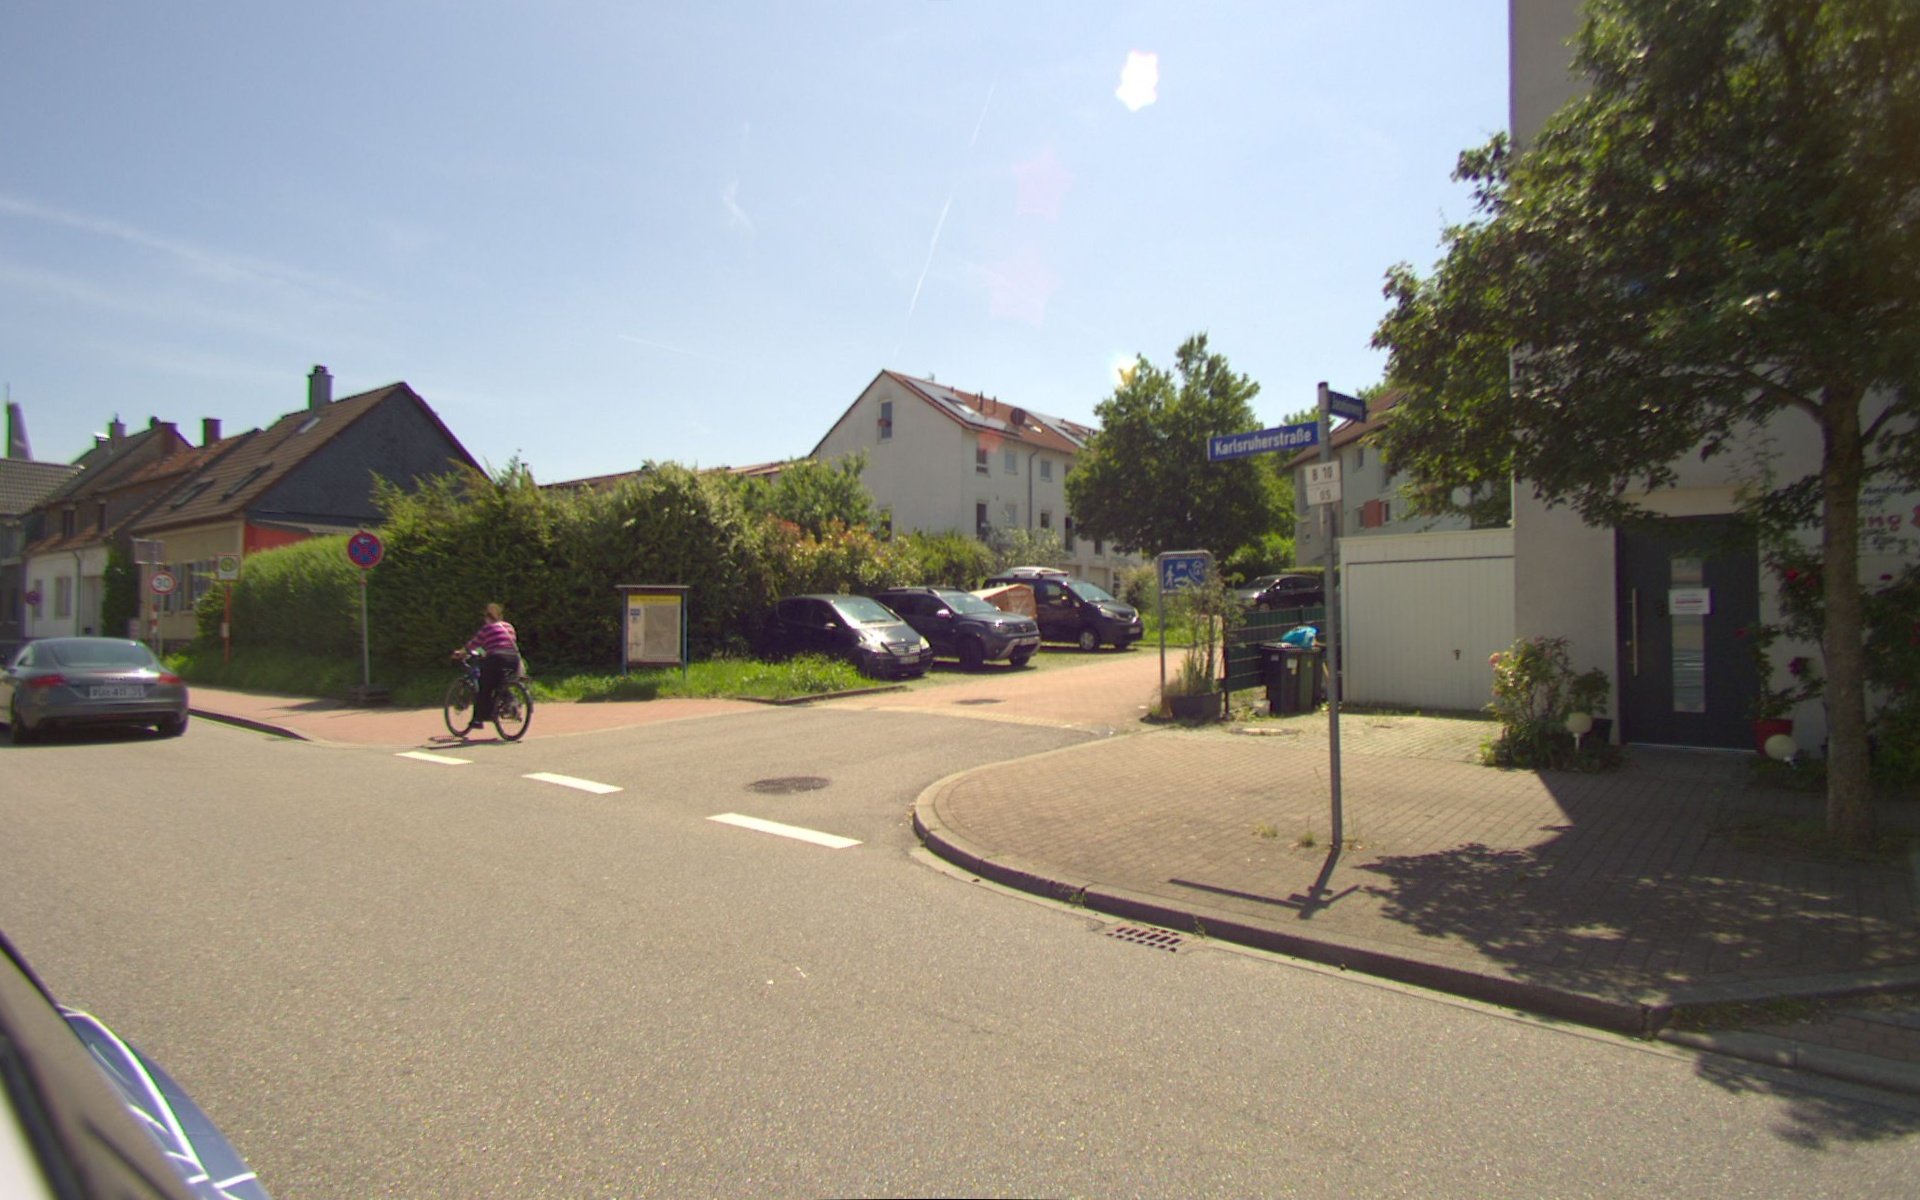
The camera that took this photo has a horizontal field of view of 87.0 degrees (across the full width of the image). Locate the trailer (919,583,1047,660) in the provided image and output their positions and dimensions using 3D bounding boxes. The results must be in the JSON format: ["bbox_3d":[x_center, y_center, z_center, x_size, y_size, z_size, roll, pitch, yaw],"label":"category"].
[{"bbox_3d":[0.527,0.507,24.209,2.688,1.676,1.413,-2,2,37],"label":"trailer"}]

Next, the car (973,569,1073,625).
[{"bbox_3d":[2.102,-0.119,32.930,1.419,1.747,3.594,-1,0,38],"label":"car"}]

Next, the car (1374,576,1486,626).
[{"bbox_3d":[14.866,0.017,31.935,3.937,1.439,1.695,-2,0,-41],"label":"car"}]

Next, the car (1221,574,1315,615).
[{"bbox_3d":[11.592,-0.207,38.002,3.580,1.463,1.595,-1,-1,-38],"label":"car"}]

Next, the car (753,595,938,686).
[{"bbox_3d":[-2.301,0.740,19.773,3.653,1.552,1.605,-1,1,44],"label":"car"}]

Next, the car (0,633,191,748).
[{"bbox_3d":[-12.291,1.183,14.118,3.867,1.381,1.688,-2,-4,41],"label":"car"}]

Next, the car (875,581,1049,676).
[{"bbox_3d":[-0.017,0.568,21.409,3.511,1.793,1.605,-1,1,44],"label":"car"}]

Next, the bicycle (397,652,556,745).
[{"bbox_3d":[-6.117,1.232,12.779,2.015,1.064,0.667,-3,0,26],"label":"bicycle"}]

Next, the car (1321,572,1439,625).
[{"bbox_3d":[14.145,-0.086,34.006,3.933,1.635,1.754,-2,1,-33],"label":"car"}]

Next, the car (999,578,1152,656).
[{"bbox_3d":[2.843,0.403,25.373,3.552,1.794,1.605,-1,1,44],"label":"car"}]

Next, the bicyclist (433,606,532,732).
[{"bbox_3d":[-5.993,0.848,12.710,0.904,1.505,0.655,-2,1,25],"label":"bicyclist"}]
